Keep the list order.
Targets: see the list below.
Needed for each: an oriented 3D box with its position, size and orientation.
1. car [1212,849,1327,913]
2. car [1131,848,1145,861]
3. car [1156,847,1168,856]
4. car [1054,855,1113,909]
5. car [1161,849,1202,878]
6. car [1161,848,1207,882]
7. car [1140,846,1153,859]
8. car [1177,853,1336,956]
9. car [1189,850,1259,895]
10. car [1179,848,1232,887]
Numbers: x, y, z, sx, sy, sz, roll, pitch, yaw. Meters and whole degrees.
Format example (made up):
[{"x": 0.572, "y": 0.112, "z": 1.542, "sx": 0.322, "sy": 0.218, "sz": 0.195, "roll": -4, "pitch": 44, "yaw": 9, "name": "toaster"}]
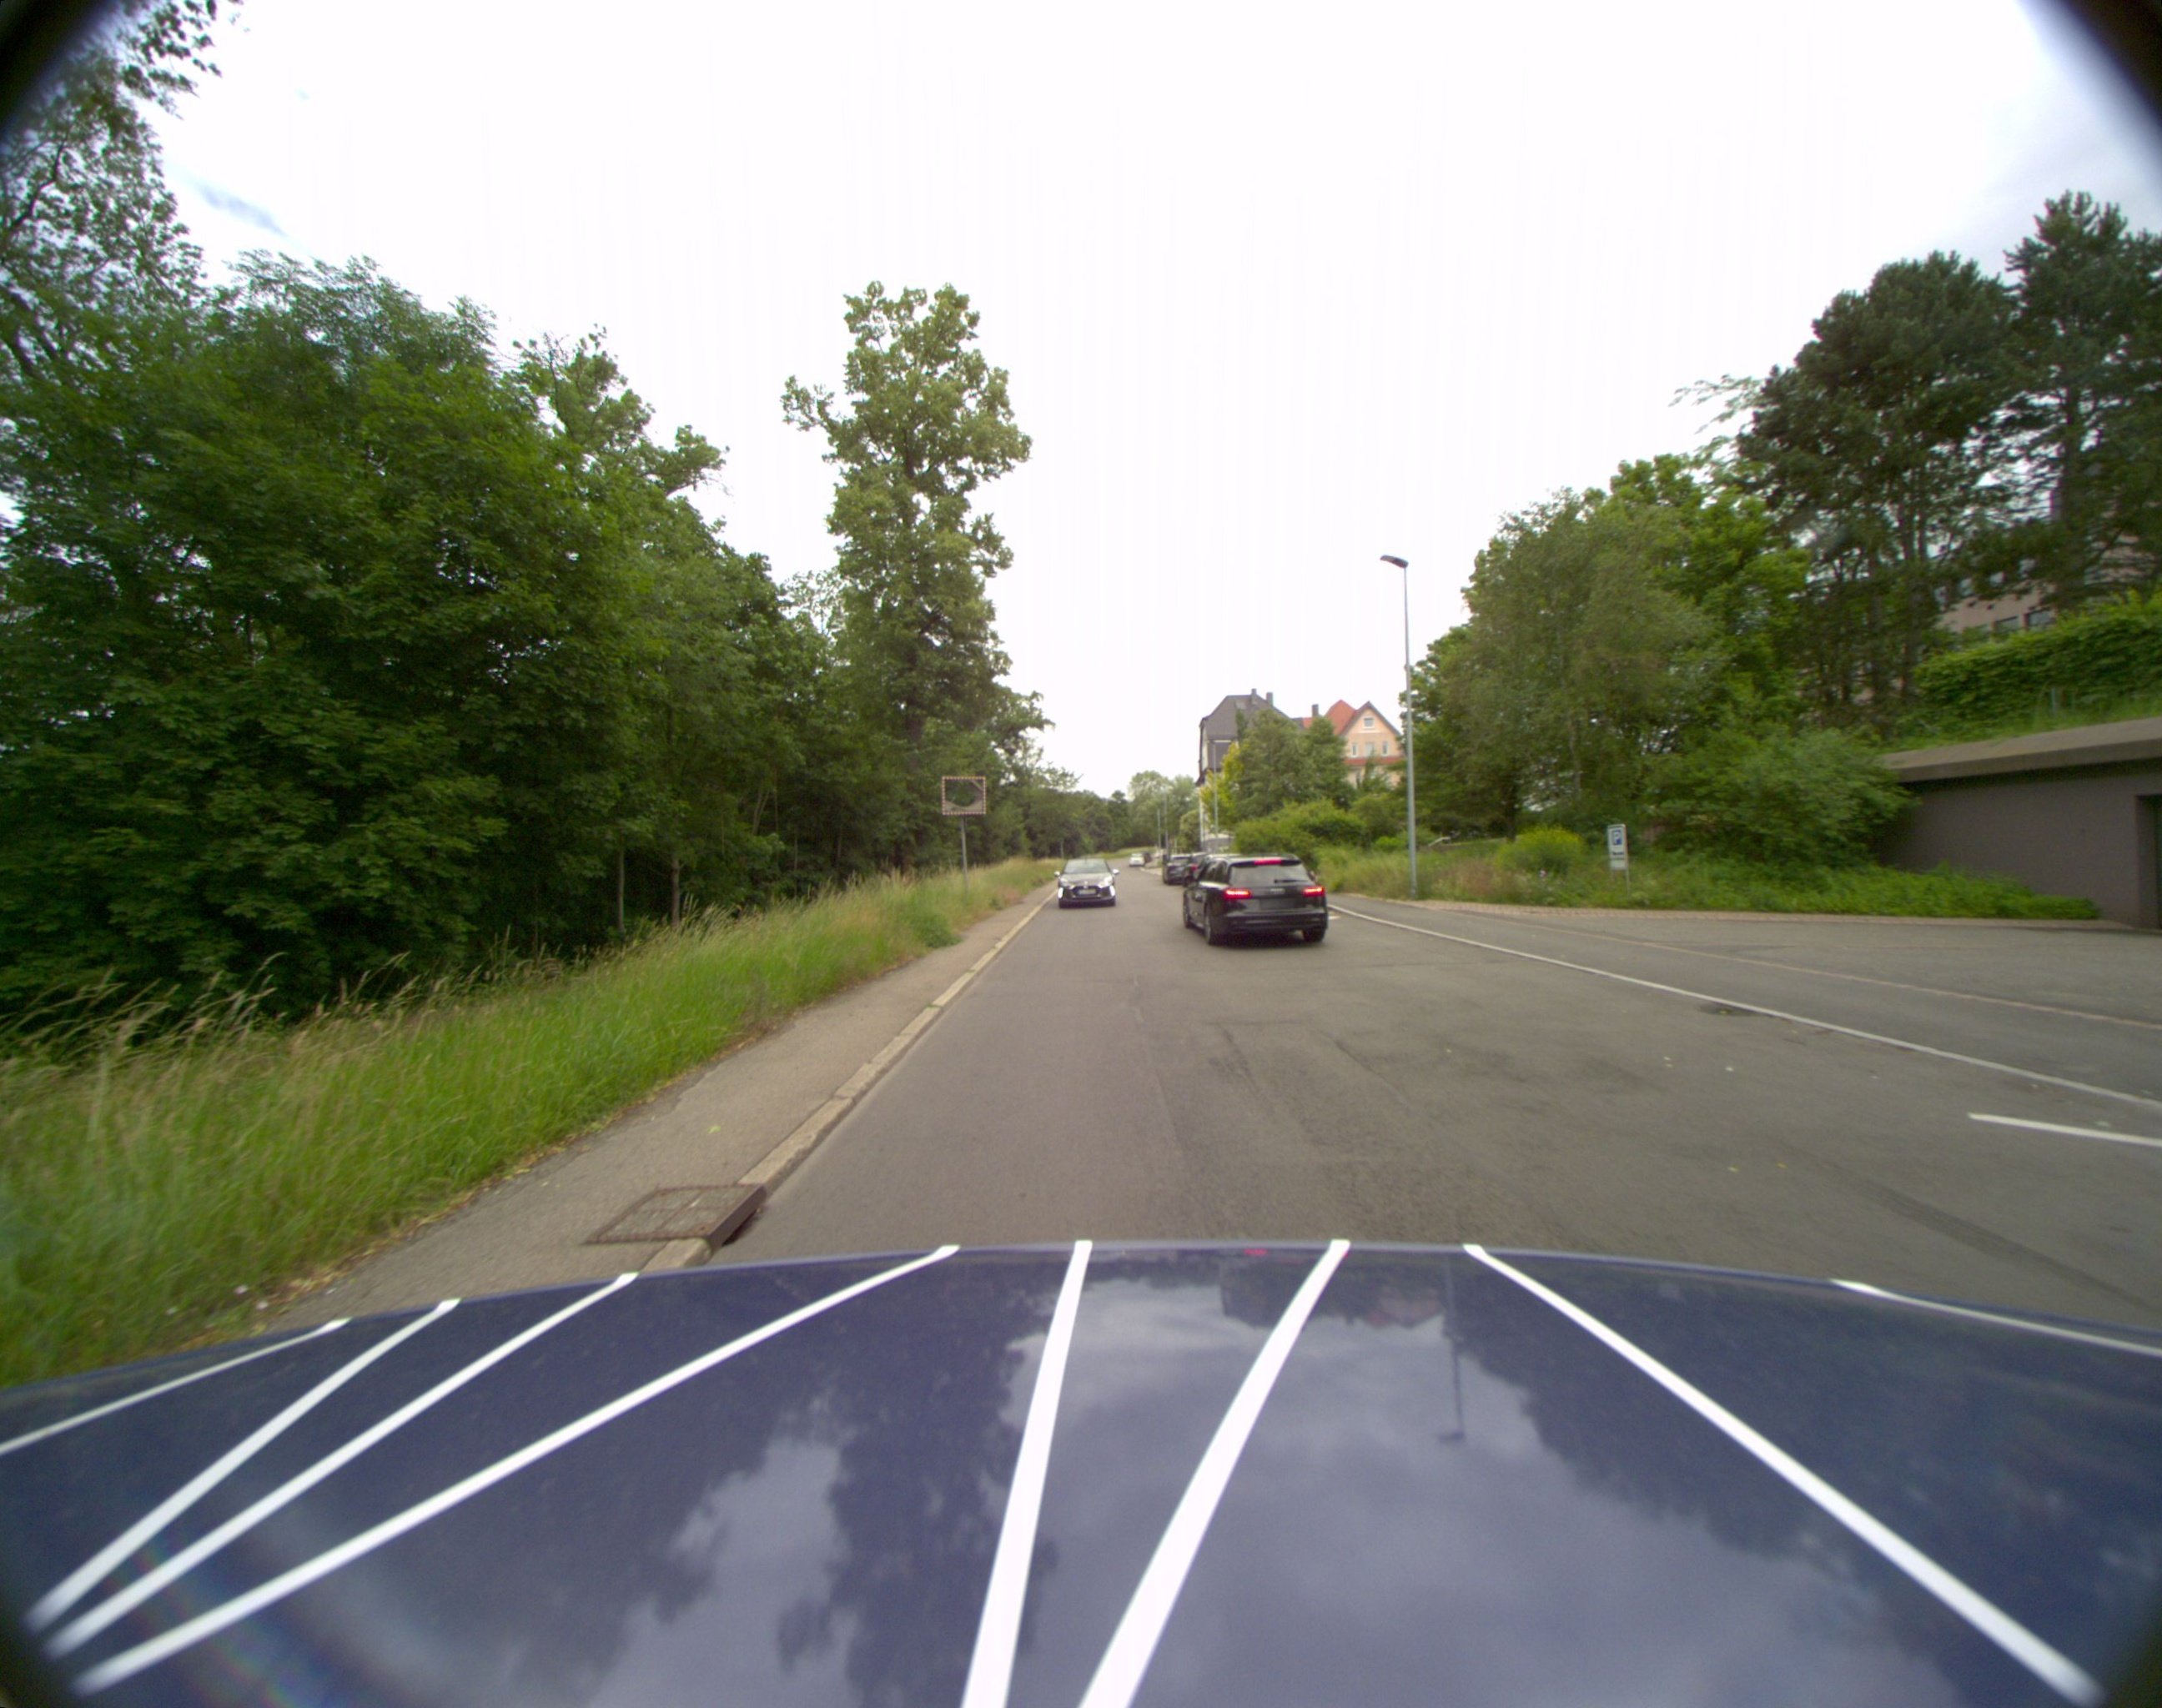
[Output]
[{"x": 4.829, "y": 0.618, "z": 20.229, "sx": 1.782, "sy": 1.423, "sz": 5.105, "roll": -2, "pitch": 0, "yaw": 0, "name": "car"}, {"x": 6.635, "y": 0.104, "z": 88.708, "sx": 1.646, "sy": 1.461, "sz": 4.072, "roll": 0, "pitch": 0, "yaw": 4, "name": "car"}, {"x": 14.904, "y": -0.464, "z": 140.029, "sx": 1.735, "sy": 1.420, "sz": 3.460, "roll": -1, "pitch": 1, "yaw": 13, "name": "car"}, {"x": 0.156, "y": 0.828, "z": 23.919, "sx": 1.619, "sy": 1.460, "sz": 4.001, "roll": -4, "pitch": 0, "yaw": 2, "name": "car"}, {"x": 5.456, "y": 0.457, "z": 41.795, "sx": 1.686, "sy": 1.474, "sz": 4.693, "roll": -1, "pitch": 0, "yaw": 1, "name": "car"}, {"x": 4.928, "y": 0.486, "z": 36.836, "sx": 1.710, "sy": 1.474, "sz": 4.496, "roll": -1, "pitch": 0, "yaw": 2, "name": "car"}, {"x": 10.072, "y": -0.234, "z": 116.842, "sx": 1.799, "sy": 1.790, "sz": 4.066, "roll": 0, "pitch": 2, "yaw": 9, "name": "car"}, {"x": 2.892, "y": 0.751, "z": 13.536, "sx": 1.785, "sy": 1.417, "sz": 4.489, "roll": -2, "pitch": 0, "yaw": 0, "name": "car"}, {"x": 4.931, "y": 0.579, "z": 26.717, "sx": 1.628, "sy": 1.423, "sz": 4.351, "roll": -1, "pitch": 0, "yaw": 0, "name": "car"}, {"x": 5.110, "y": 0.511, "z": 31.607, "sx": 1.628, "sy": 1.474, "sz": 4.000, "roll": -1, "pitch": 0, "yaw": 1, "name": "car"}]
